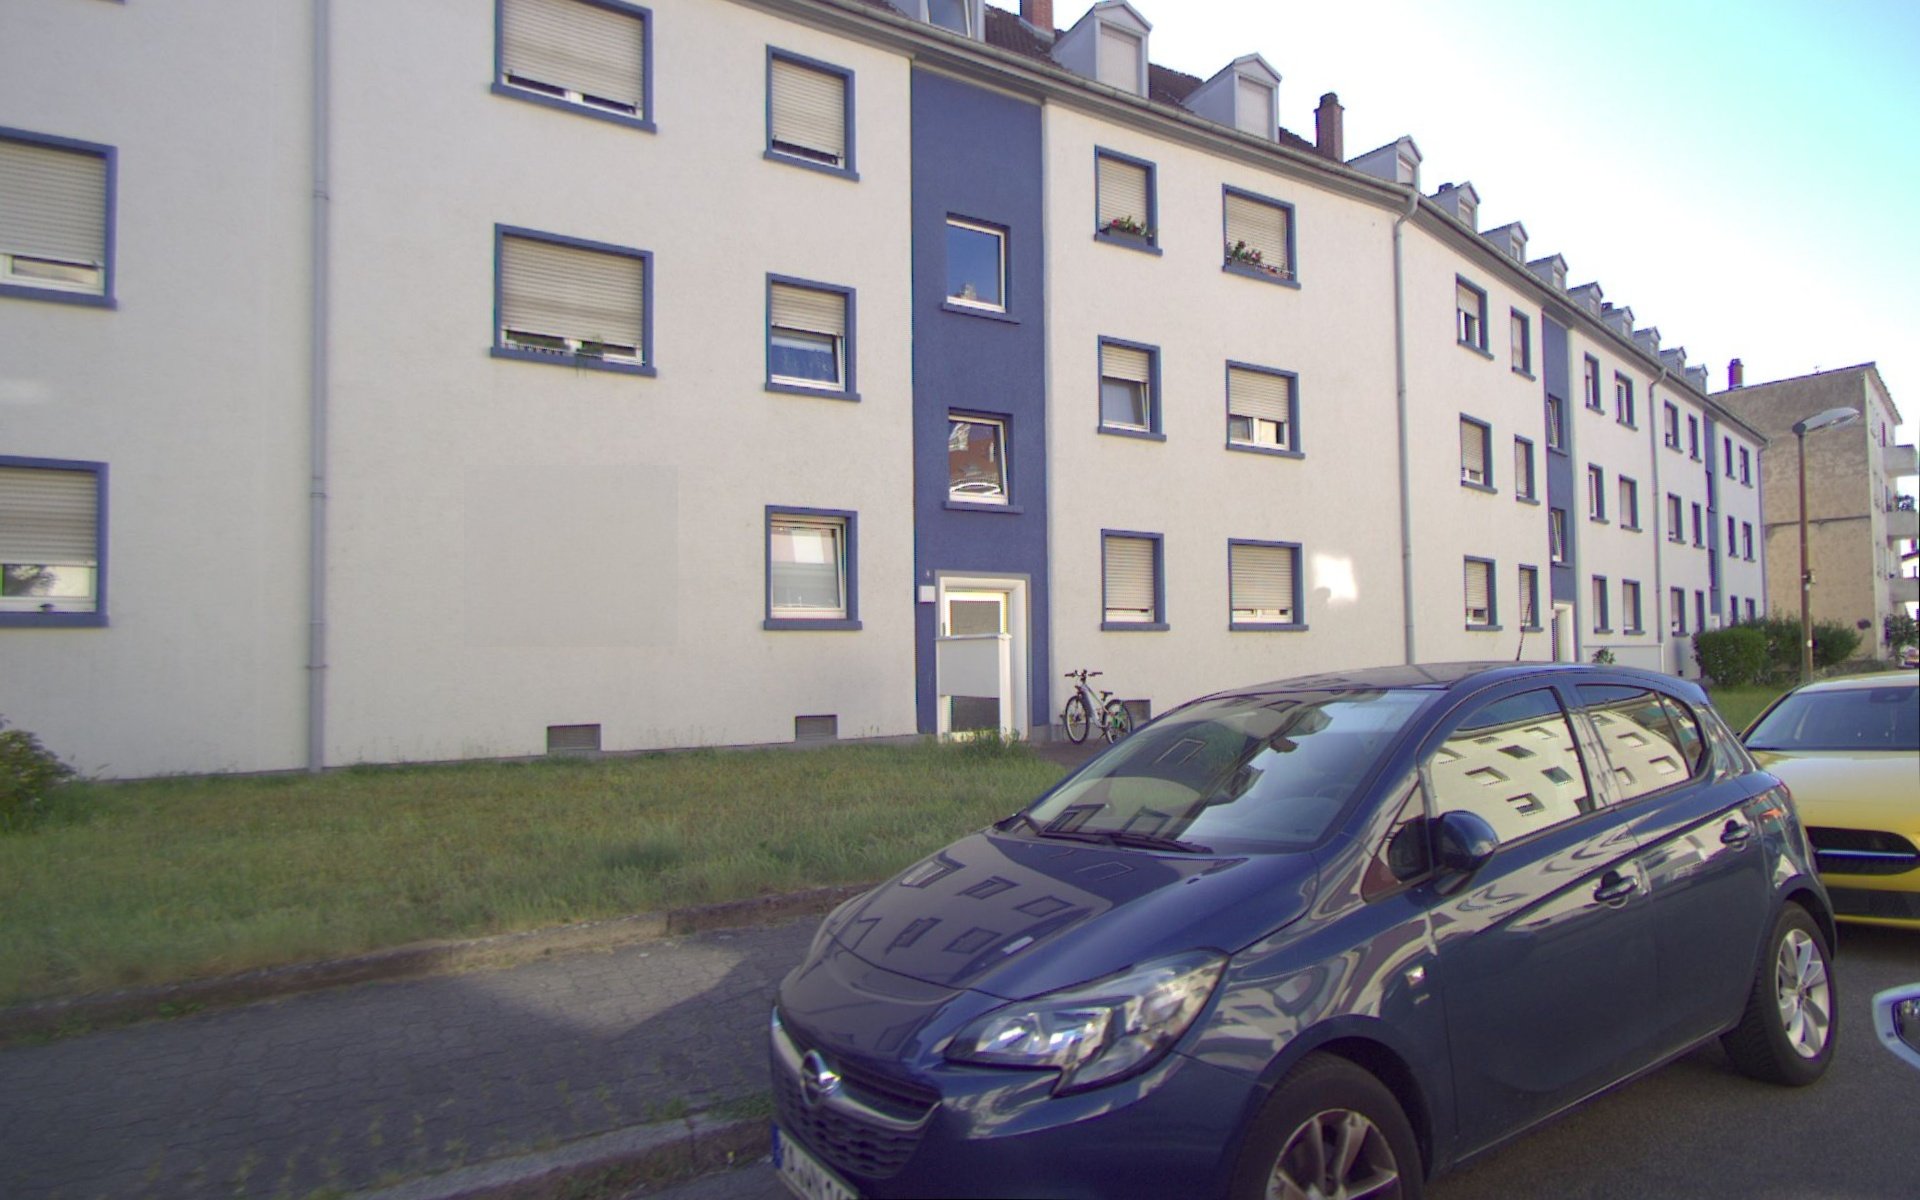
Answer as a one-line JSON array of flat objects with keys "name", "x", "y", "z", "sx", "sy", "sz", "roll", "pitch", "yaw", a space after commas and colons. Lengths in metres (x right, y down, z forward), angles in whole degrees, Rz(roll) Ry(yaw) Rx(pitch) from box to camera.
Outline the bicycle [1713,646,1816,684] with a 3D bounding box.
[{"name": "bicycle", "x": 26.714, "y": 2.147, "z": 33.401, "sx": 2.638, "sy": 1.145, "sz": 0.769, "roll": -1, "pitch": -2, "yaw": 42}]

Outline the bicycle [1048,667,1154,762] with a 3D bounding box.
[{"name": "bicycle", "x": 1.870, "y": 1.499, "z": 13.554, "sx": 0.560, "sy": 1.092, "sz": 1.816, "roll": 0, "pitch": -1, "yaw": -23}]

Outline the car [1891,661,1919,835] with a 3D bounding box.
[{"name": "car", "x": 10.376, "y": 1.266, "z": 9.435, "sx": 4.221, "sy": 1.483, "sz": 1.559, "roll": 1, "pitch": -6, "yaw": -37}]

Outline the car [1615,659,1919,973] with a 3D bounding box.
[{"name": "car", "x": 5.997, "y": 1.101, "z": 6.219, "sx": 4.112, "sy": 1.407, "sz": 1.685, "roll": 1, "pitch": -5, "yaw": -33}]

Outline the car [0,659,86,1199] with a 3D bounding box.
[{"name": "car", "x": -3.453, "y": 0.832, "z": 0.585, "sx": 4.106, "sy": 1.580, "sz": 1.687, "roll": 1, "pitch": -5, "yaw": -29}]

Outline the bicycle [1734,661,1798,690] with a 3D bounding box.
[{"name": "bicycle", "x": 28.423, "y": 2.672, "z": 35.437, "sx": 0.543, "sy": 0.948, "sz": 1.634, "roll": 2, "pitch": -6, "yaw": -40}]

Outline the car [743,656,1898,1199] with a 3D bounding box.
[{"name": "car", "x": 1.450, "y": 1.005, "z": 3.507, "sx": 3.977, "sy": 1.463, "sz": 1.685, "roll": 1, "pitch": -5, "yaw": -33}]
